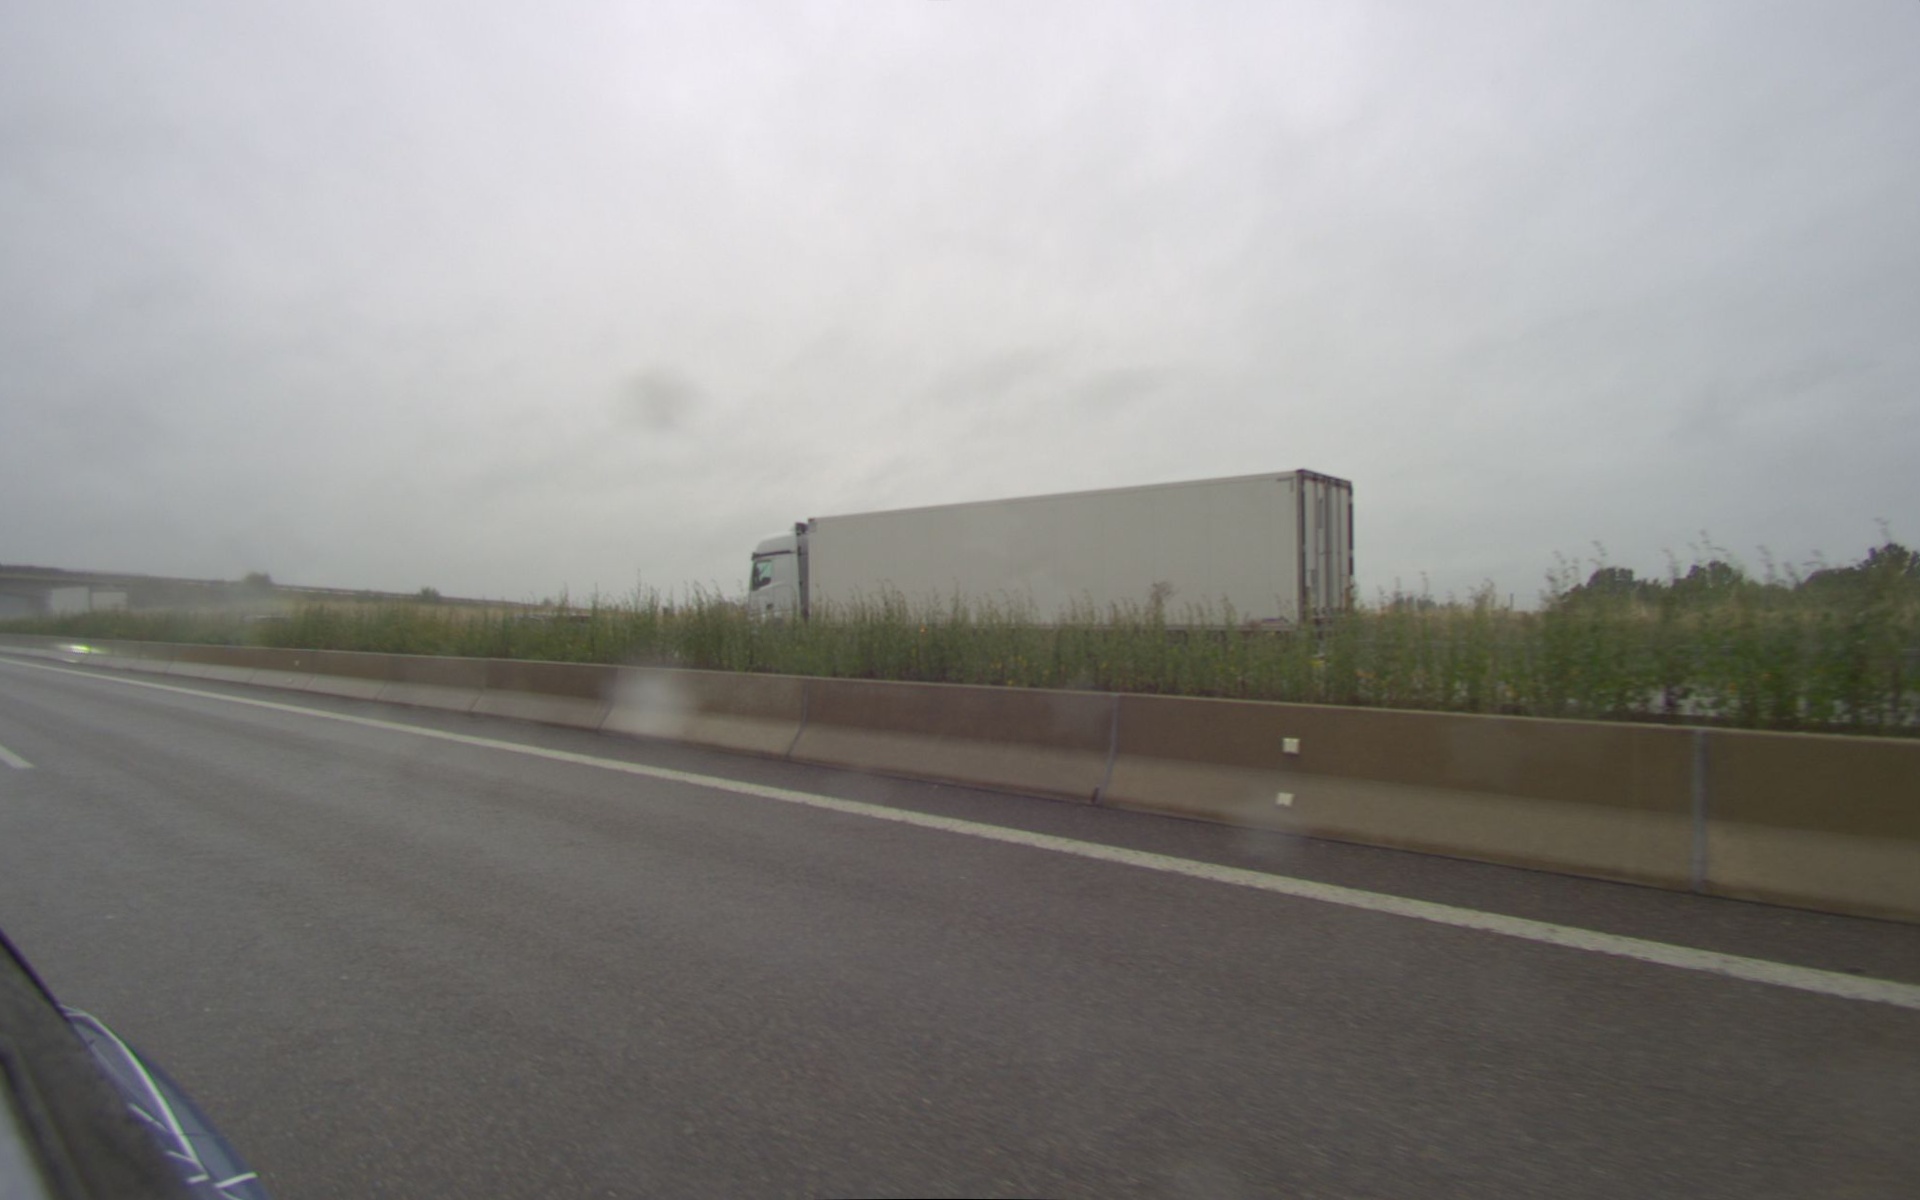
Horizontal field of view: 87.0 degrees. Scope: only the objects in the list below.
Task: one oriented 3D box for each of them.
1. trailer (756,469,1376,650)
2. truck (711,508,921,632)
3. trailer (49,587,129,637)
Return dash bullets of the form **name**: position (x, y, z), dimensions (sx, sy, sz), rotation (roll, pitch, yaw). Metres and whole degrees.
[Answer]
- **trailer**: position (1.288, -0.767, 23.929), dimensions (15.710, 3.168, 2.957), rotation (0, 1, 41)
- **truck**: position (-4.152, -0.777, 28.631), dimensions (5.592, 3.147, 2.962), rotation (0, 1, 40)
- **trailer**: position (-74.714, 1.051, 86.649), dimensions (14.293, 4.012, 2.915), rotation (-1, -1, 40)
